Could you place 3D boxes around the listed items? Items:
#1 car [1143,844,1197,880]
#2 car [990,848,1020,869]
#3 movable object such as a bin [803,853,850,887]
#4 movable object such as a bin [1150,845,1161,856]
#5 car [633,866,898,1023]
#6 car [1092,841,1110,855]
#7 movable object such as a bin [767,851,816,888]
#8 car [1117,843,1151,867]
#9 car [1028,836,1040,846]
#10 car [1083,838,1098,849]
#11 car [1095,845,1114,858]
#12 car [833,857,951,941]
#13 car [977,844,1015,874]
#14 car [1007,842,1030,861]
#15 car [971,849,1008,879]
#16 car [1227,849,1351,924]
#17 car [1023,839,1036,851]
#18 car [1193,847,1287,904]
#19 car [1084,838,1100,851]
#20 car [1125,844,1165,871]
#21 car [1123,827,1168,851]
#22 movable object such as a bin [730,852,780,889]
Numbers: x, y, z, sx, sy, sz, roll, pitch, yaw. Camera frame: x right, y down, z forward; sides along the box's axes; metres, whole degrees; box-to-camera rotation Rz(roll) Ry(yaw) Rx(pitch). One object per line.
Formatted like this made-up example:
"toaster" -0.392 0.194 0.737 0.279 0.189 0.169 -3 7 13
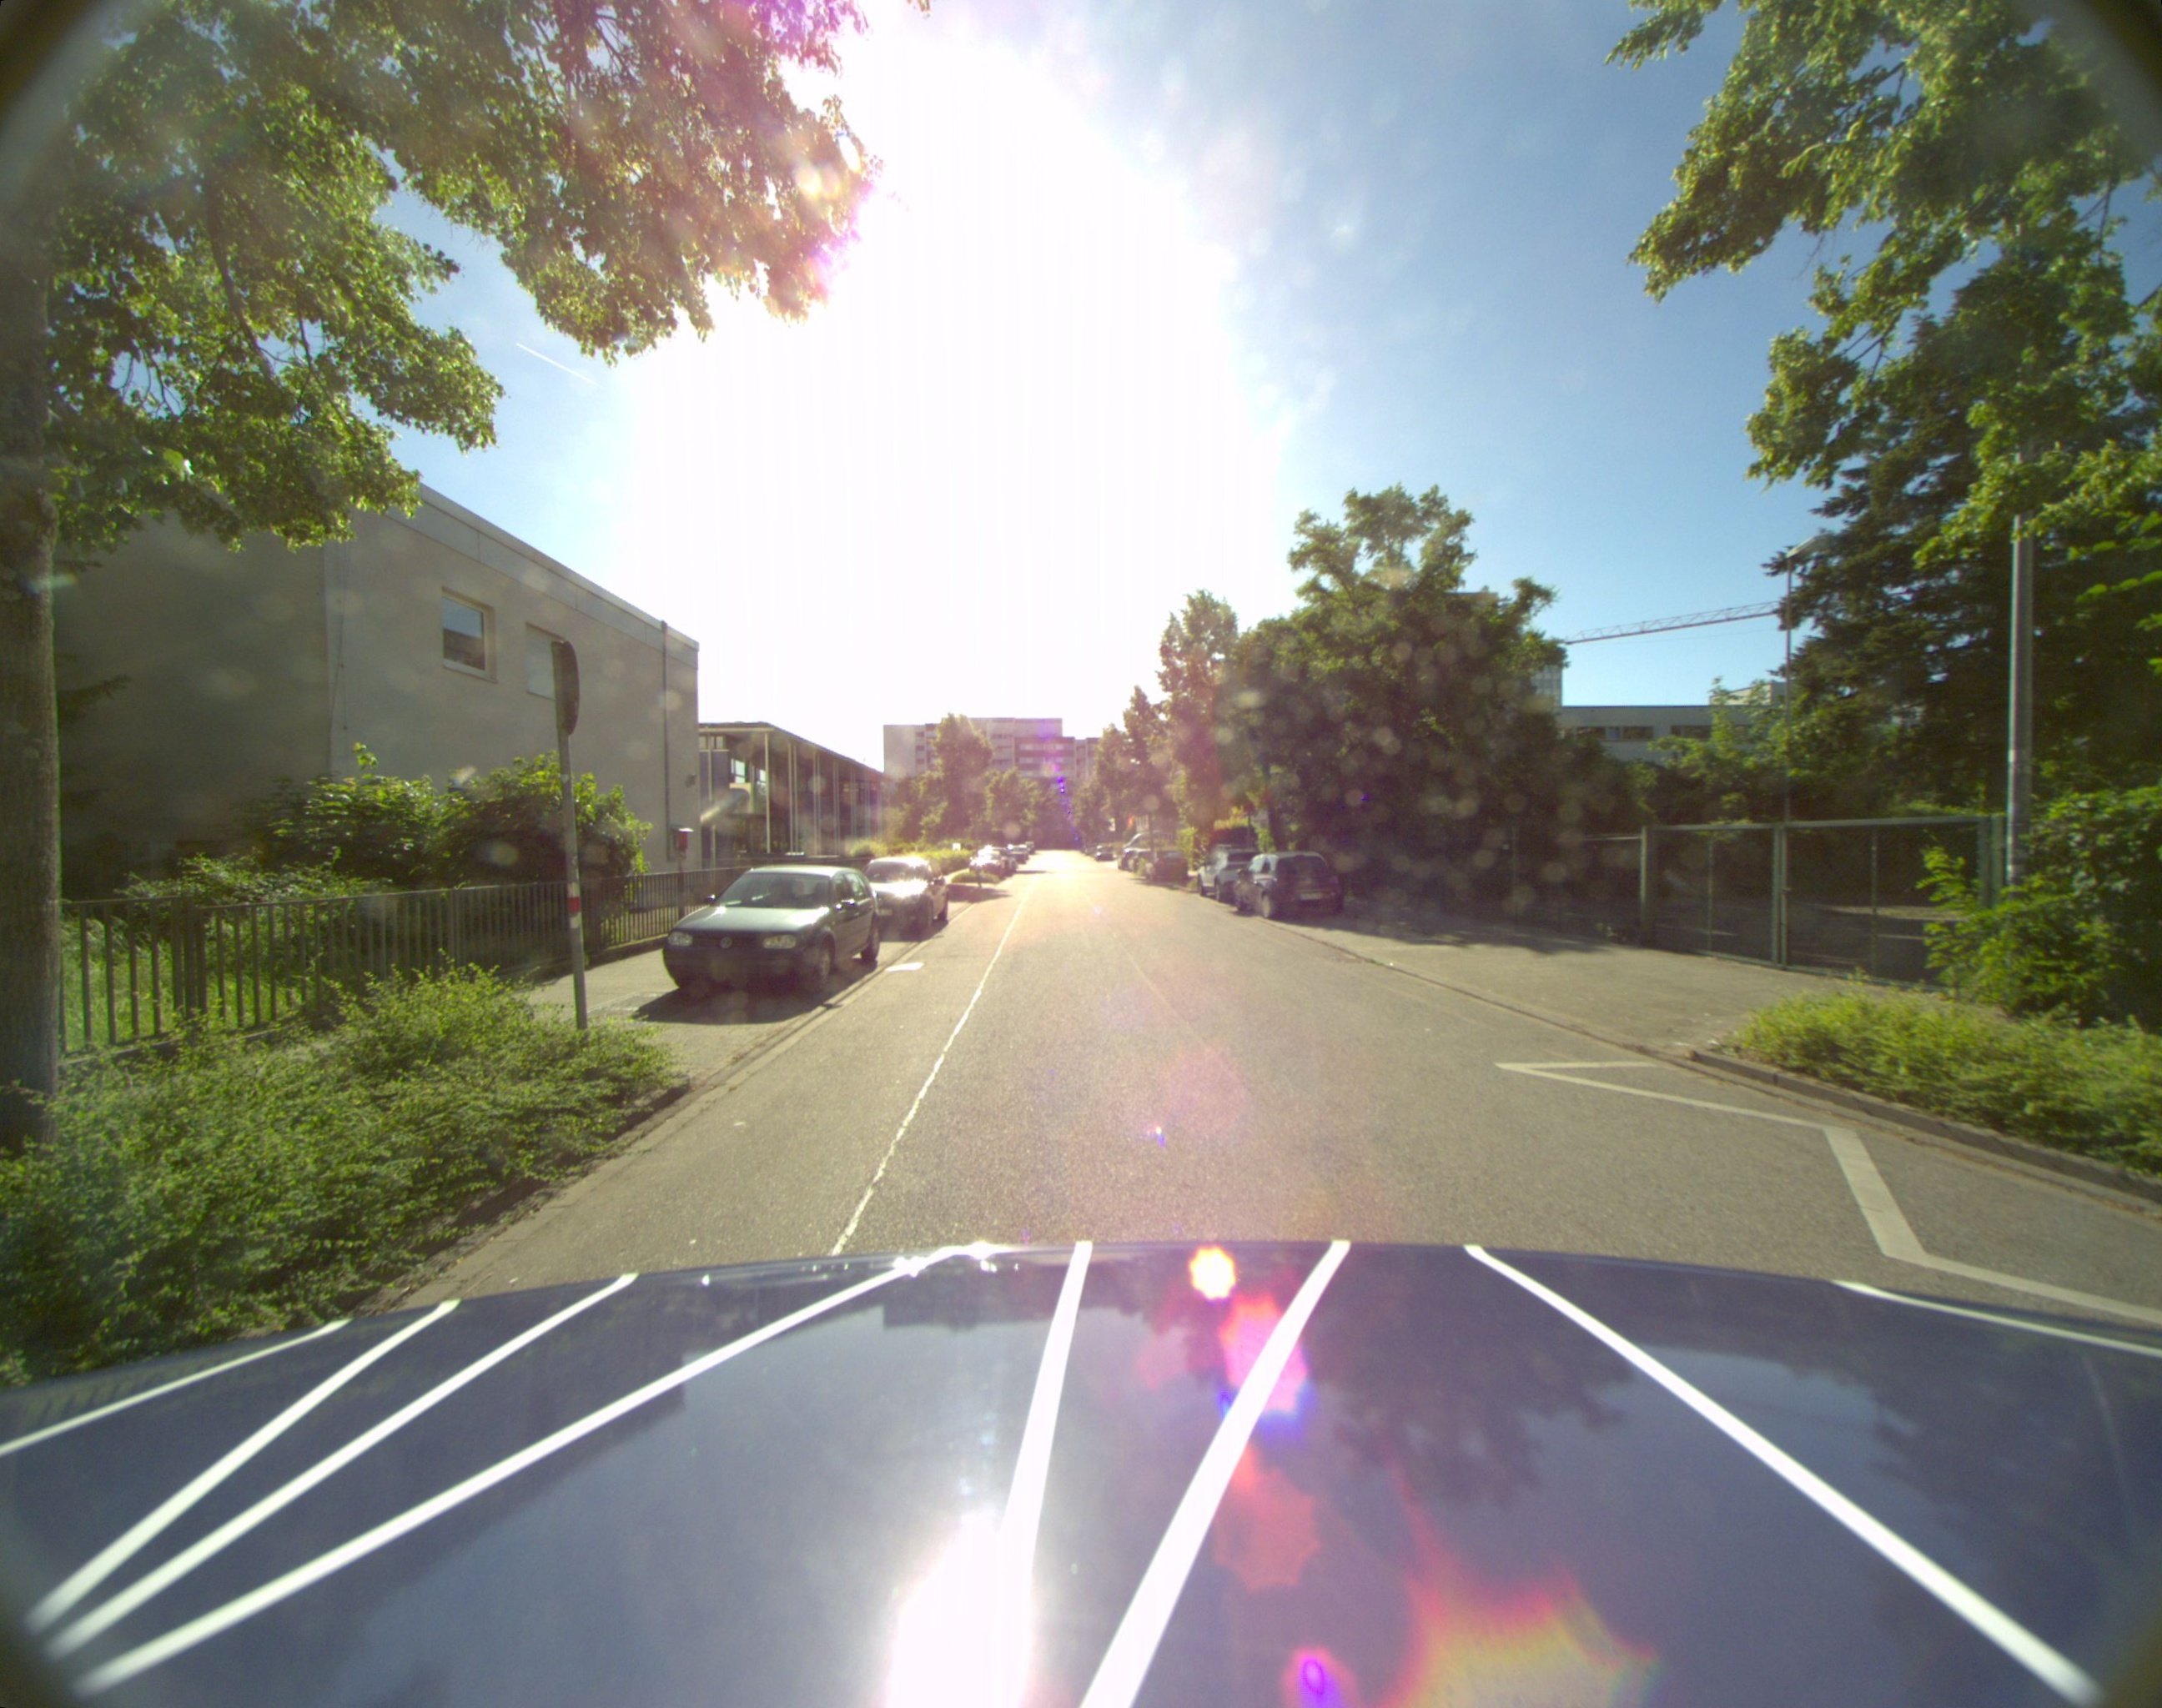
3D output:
"car" 4.212 0.337 36.626 1.845 1.465 4.357 -3 2 -2
"car" -5.297 0.290 53.114 1.968 1.312 4.772 1 1 -5
"movable object such as a bin" -10.439 0.641 31.206 1.370 1.350 1.631 -1 1 -1
"movable object such as a bin" 7.200 -0.367 73.639 0.862 1.032 0.677 -4 2 -5
"car" -3.836 0.989 10.192 1.751 1.414 4.422 -1 2 -1
"car" 2.146 -0.674 81.806 1.631 1.515 3.561 -1 1 -3
"movable object such as a bin" -11.872 0.611 31.205 1.370 1.440 1.631 -1 1 -1
"car" 3.598 0.034 52.279 1.845 1.465 4.097 -3 2 -2
"car" -7.288 -2.018 117.552 1.645 1.459 3.701 2 3 -3
"car" 1.366 -1.501 109.672 1.796 1.509 3.887 -2 2 -5
"car" 2.346 -0.270 75.995 1.631 1.240 3.561 1 1 -1
"car" -3.942 0.867 16.508 1.789 1.507 3.998 0 1 -4
"car" -5.074 0.242 46.028 1.905 1.673 4.409 1 1 -1
"car" -5.826 -0.257 71.249 1.823 1.638 4.486 2 1 -2
"car" -4.799 0.485 40.378 1.680 1.495 3.845 -1 1 -3
"car" 4.817 0.678 18.085 1.722 1.465 3.544 -3 2 -4
"car" -7.100 -1.305 105.282 1.645 1.459 3.701 2 3 -3
"car" 4.769 0.583 23.323 1.845 1.465 4.000 -3 2 -2
"car" 1.429 -1.252 100.875 1.796 1.590 3.887 -2 2 -5
"car" 3.851 0.177 46.171 1.845 1.465 4.025 -3 2 -2
"car" 7.833 -1.842 92.550 5.154 2.886 2.012 -1 2 -6
"movable object such as a bin" -13.326 0.655 31.130 1.333 1.440 1.631 -1 1 -1
